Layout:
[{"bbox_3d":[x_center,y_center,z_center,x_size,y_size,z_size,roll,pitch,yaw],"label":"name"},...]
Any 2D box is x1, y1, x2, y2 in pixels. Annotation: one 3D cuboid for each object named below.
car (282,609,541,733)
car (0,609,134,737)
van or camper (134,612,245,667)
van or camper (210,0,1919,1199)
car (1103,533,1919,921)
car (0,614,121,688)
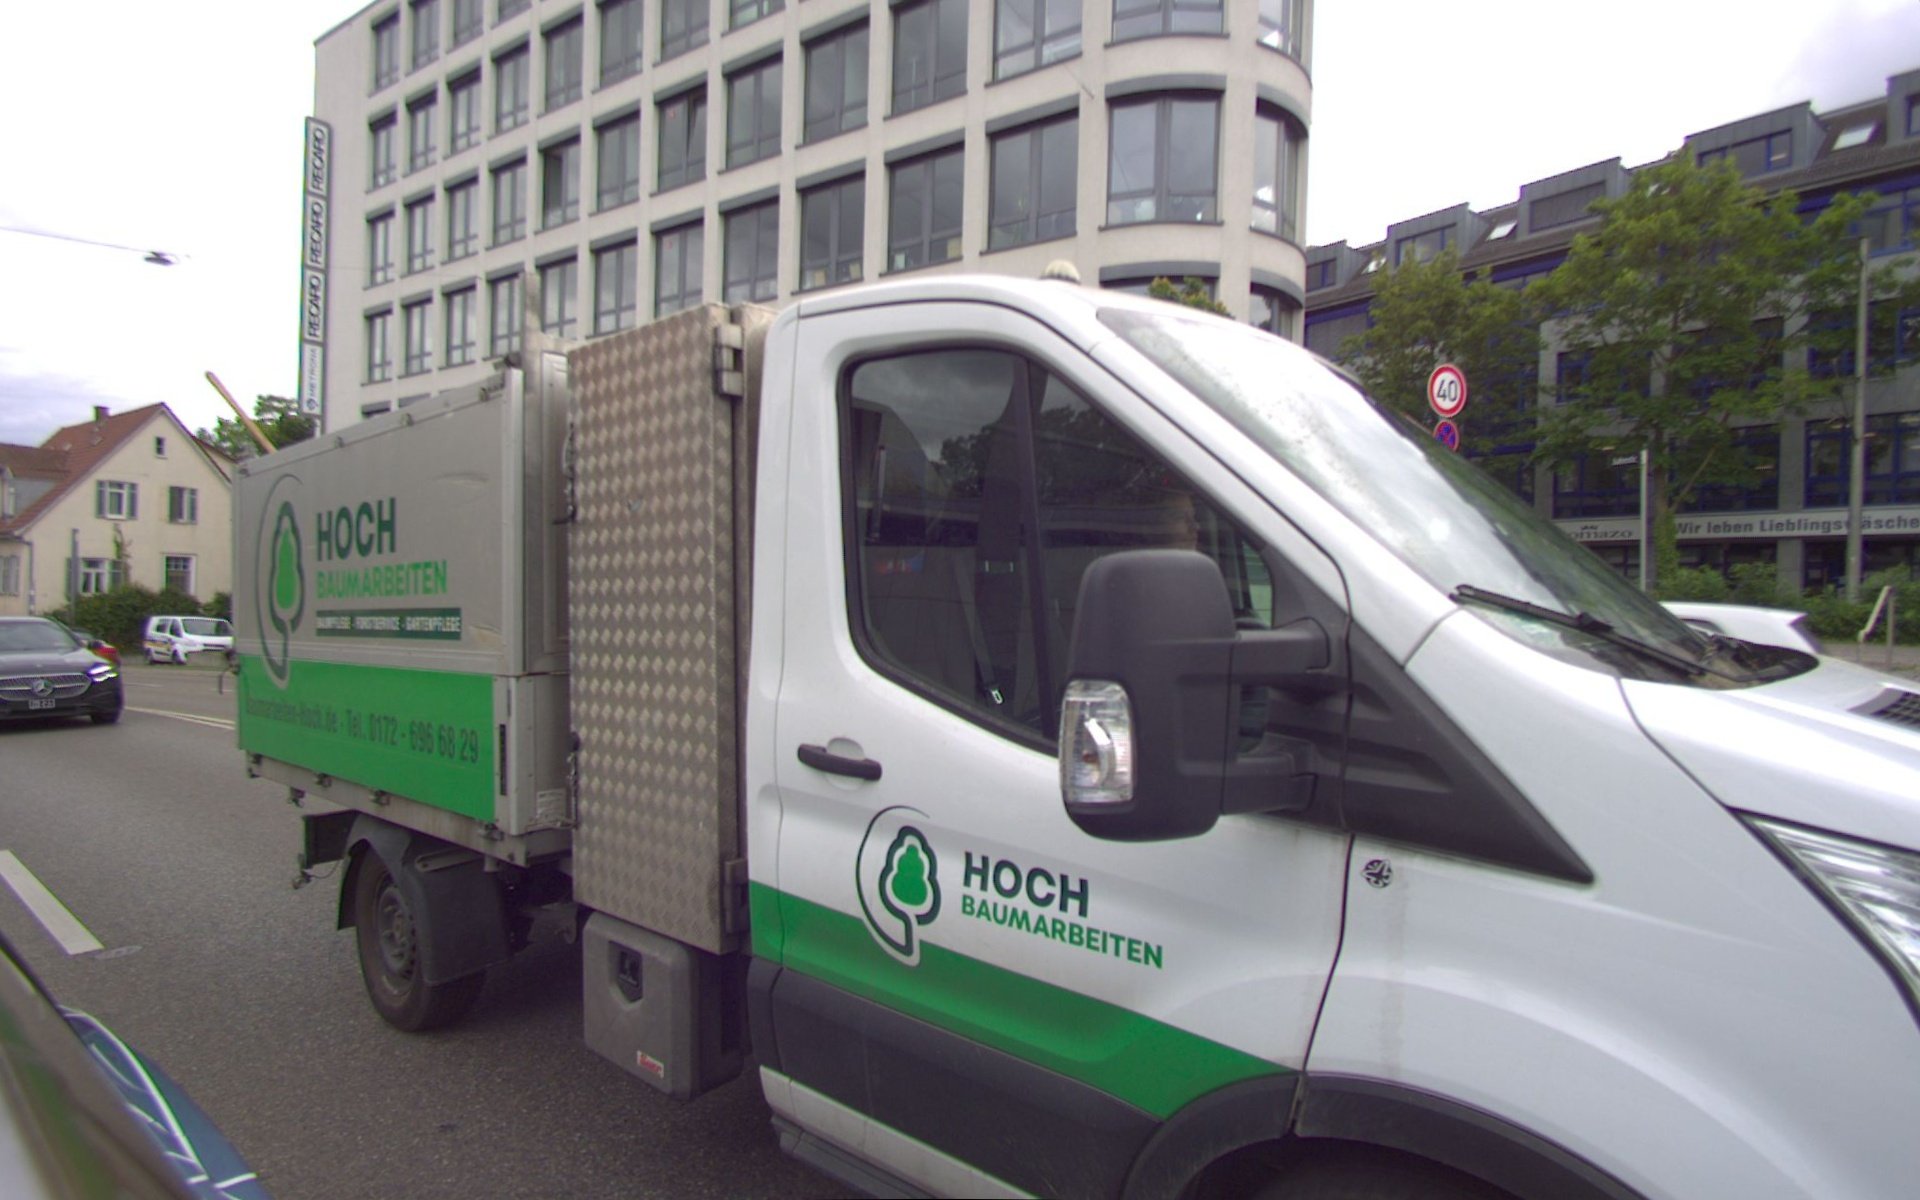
[{"bbox_3d":[-7.753,0.931,14.189,3.975,1.492,1.760,-1,-3,38],"label":"car"},{"bbox_3d":[-13.176,0.965,13.828,4.325,1.541,1.857,-2,-2,35],"label":"car"},{"bbox_3d":[-29.227,1.511,38.370,4.862,1.983,2.042,-3,-3,36],"label":"van or camper"},{"bbox_3d":[0.018,0.065,3.073,5.959,2.682,2.320,0,1,40],"label":"van or camper"},{"bbox_3d":[3.019,0.586,5.971,3.995,1.577,1.760,-1,-3,38],"label":"car"},{"bbox_3d":[-21.544,1.207,23.787,4.276,1.583,1.754,-2,-4,36],"label":"car"}]
